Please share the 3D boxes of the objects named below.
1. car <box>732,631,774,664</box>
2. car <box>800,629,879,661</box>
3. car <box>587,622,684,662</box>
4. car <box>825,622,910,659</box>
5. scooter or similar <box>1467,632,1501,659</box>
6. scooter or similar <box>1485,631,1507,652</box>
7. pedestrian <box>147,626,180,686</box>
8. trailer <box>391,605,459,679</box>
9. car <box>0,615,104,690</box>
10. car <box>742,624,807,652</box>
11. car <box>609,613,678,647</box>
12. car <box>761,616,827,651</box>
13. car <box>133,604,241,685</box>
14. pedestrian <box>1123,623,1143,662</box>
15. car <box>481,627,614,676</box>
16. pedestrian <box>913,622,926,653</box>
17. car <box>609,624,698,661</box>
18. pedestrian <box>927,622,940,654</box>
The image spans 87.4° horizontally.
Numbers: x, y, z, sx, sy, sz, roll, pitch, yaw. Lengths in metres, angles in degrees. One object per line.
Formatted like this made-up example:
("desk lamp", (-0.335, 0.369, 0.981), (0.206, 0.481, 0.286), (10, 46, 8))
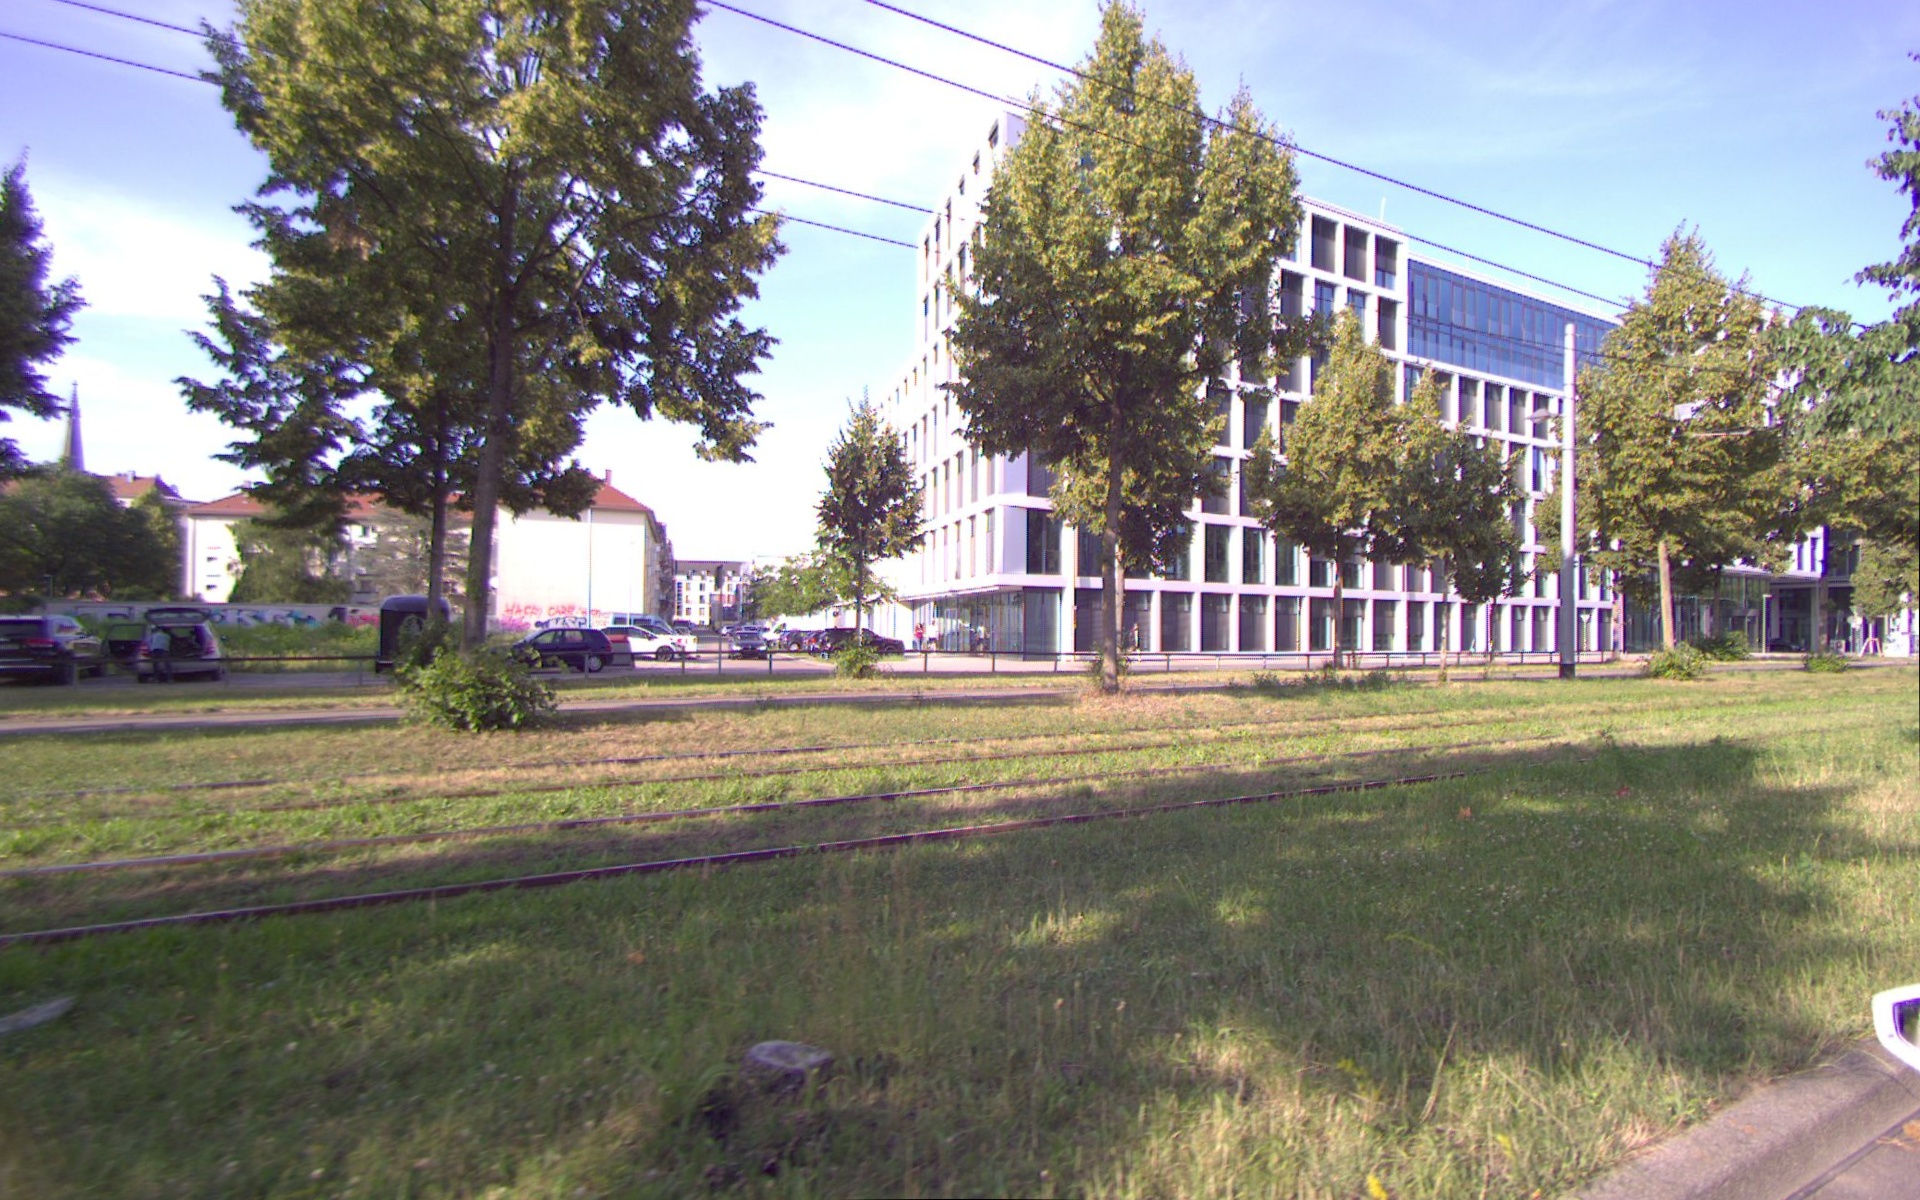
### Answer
("car", (-10.380, 2.352, 50.532), (1.744, 1.446, 3.994), (2, 0, -8))
("car", (-6.433, 2.406, 53.547), (3.934, 1.556, 1.585), (2, 0, -15))
("car", (-14.352, 1.862, 44.439), (3.939, 1.617, 1.845), (2, 0, -20))
("car", (-4.621, 2.013, 50.146), (3.934, 1.694, 1.854), (2, 0, -15))
("scooter or similar", (31.386, 2.716, 60.218), (0.409, 1.496, 1.922), (2, 0, -26))
("scooter or similar", (32.955, 2.539, 61.753), (1.278, 1.242, 0.335), (2, 0, -18))
("pedestrian", (-20.552, 1.432, 25.920), (0.562, 1.500, 0.519), (2, 0, -31))
("trailer", (-16.755, 1.260, 31.597), (1.735, 2.081, 4.348), (2, 0, -27))
("car", (-23.677, 1.282, 25.821), (1.737, 1.665, 3.974), (2, 0, -29))
("car", (-12.271, 2.514, 66.519), (4.088, 1.711, 1.806), (2, 0, -14))
("car", (-21.940, 2.070, 69.637), (4.424, 2.187, 1.847), (2, 0, -19))
("car", (-13.055, 2.640, 79.078), (4.945, 2.566, 1.806), (2, 0, -14))
("car", (-21.141, 1.173, 27.620), (1.737, 1.973, 3.974), (2, 0, -29))
("pedestrian", (7.986, 1.968, 46.318), (0.684, 1.751, 0.564), (2, 0, -31))
("car", (-13.309, 1.644, 32.477), (3.723, 1.412, 1.668), (2, 1, -34))
("pedestrian", (-2.209, 2.064, 55.280), (0.622, 1.652, 0.591), (2, 4, -6))
("car", (-14.560, 2.009, 47.708), (3.938, 1.578, 1.683), (2, 0, -19))
("pedestrian", (-1.482, 2.090, 55.378), (0.622, 1.652, 0.591), (2, 4, -6))
